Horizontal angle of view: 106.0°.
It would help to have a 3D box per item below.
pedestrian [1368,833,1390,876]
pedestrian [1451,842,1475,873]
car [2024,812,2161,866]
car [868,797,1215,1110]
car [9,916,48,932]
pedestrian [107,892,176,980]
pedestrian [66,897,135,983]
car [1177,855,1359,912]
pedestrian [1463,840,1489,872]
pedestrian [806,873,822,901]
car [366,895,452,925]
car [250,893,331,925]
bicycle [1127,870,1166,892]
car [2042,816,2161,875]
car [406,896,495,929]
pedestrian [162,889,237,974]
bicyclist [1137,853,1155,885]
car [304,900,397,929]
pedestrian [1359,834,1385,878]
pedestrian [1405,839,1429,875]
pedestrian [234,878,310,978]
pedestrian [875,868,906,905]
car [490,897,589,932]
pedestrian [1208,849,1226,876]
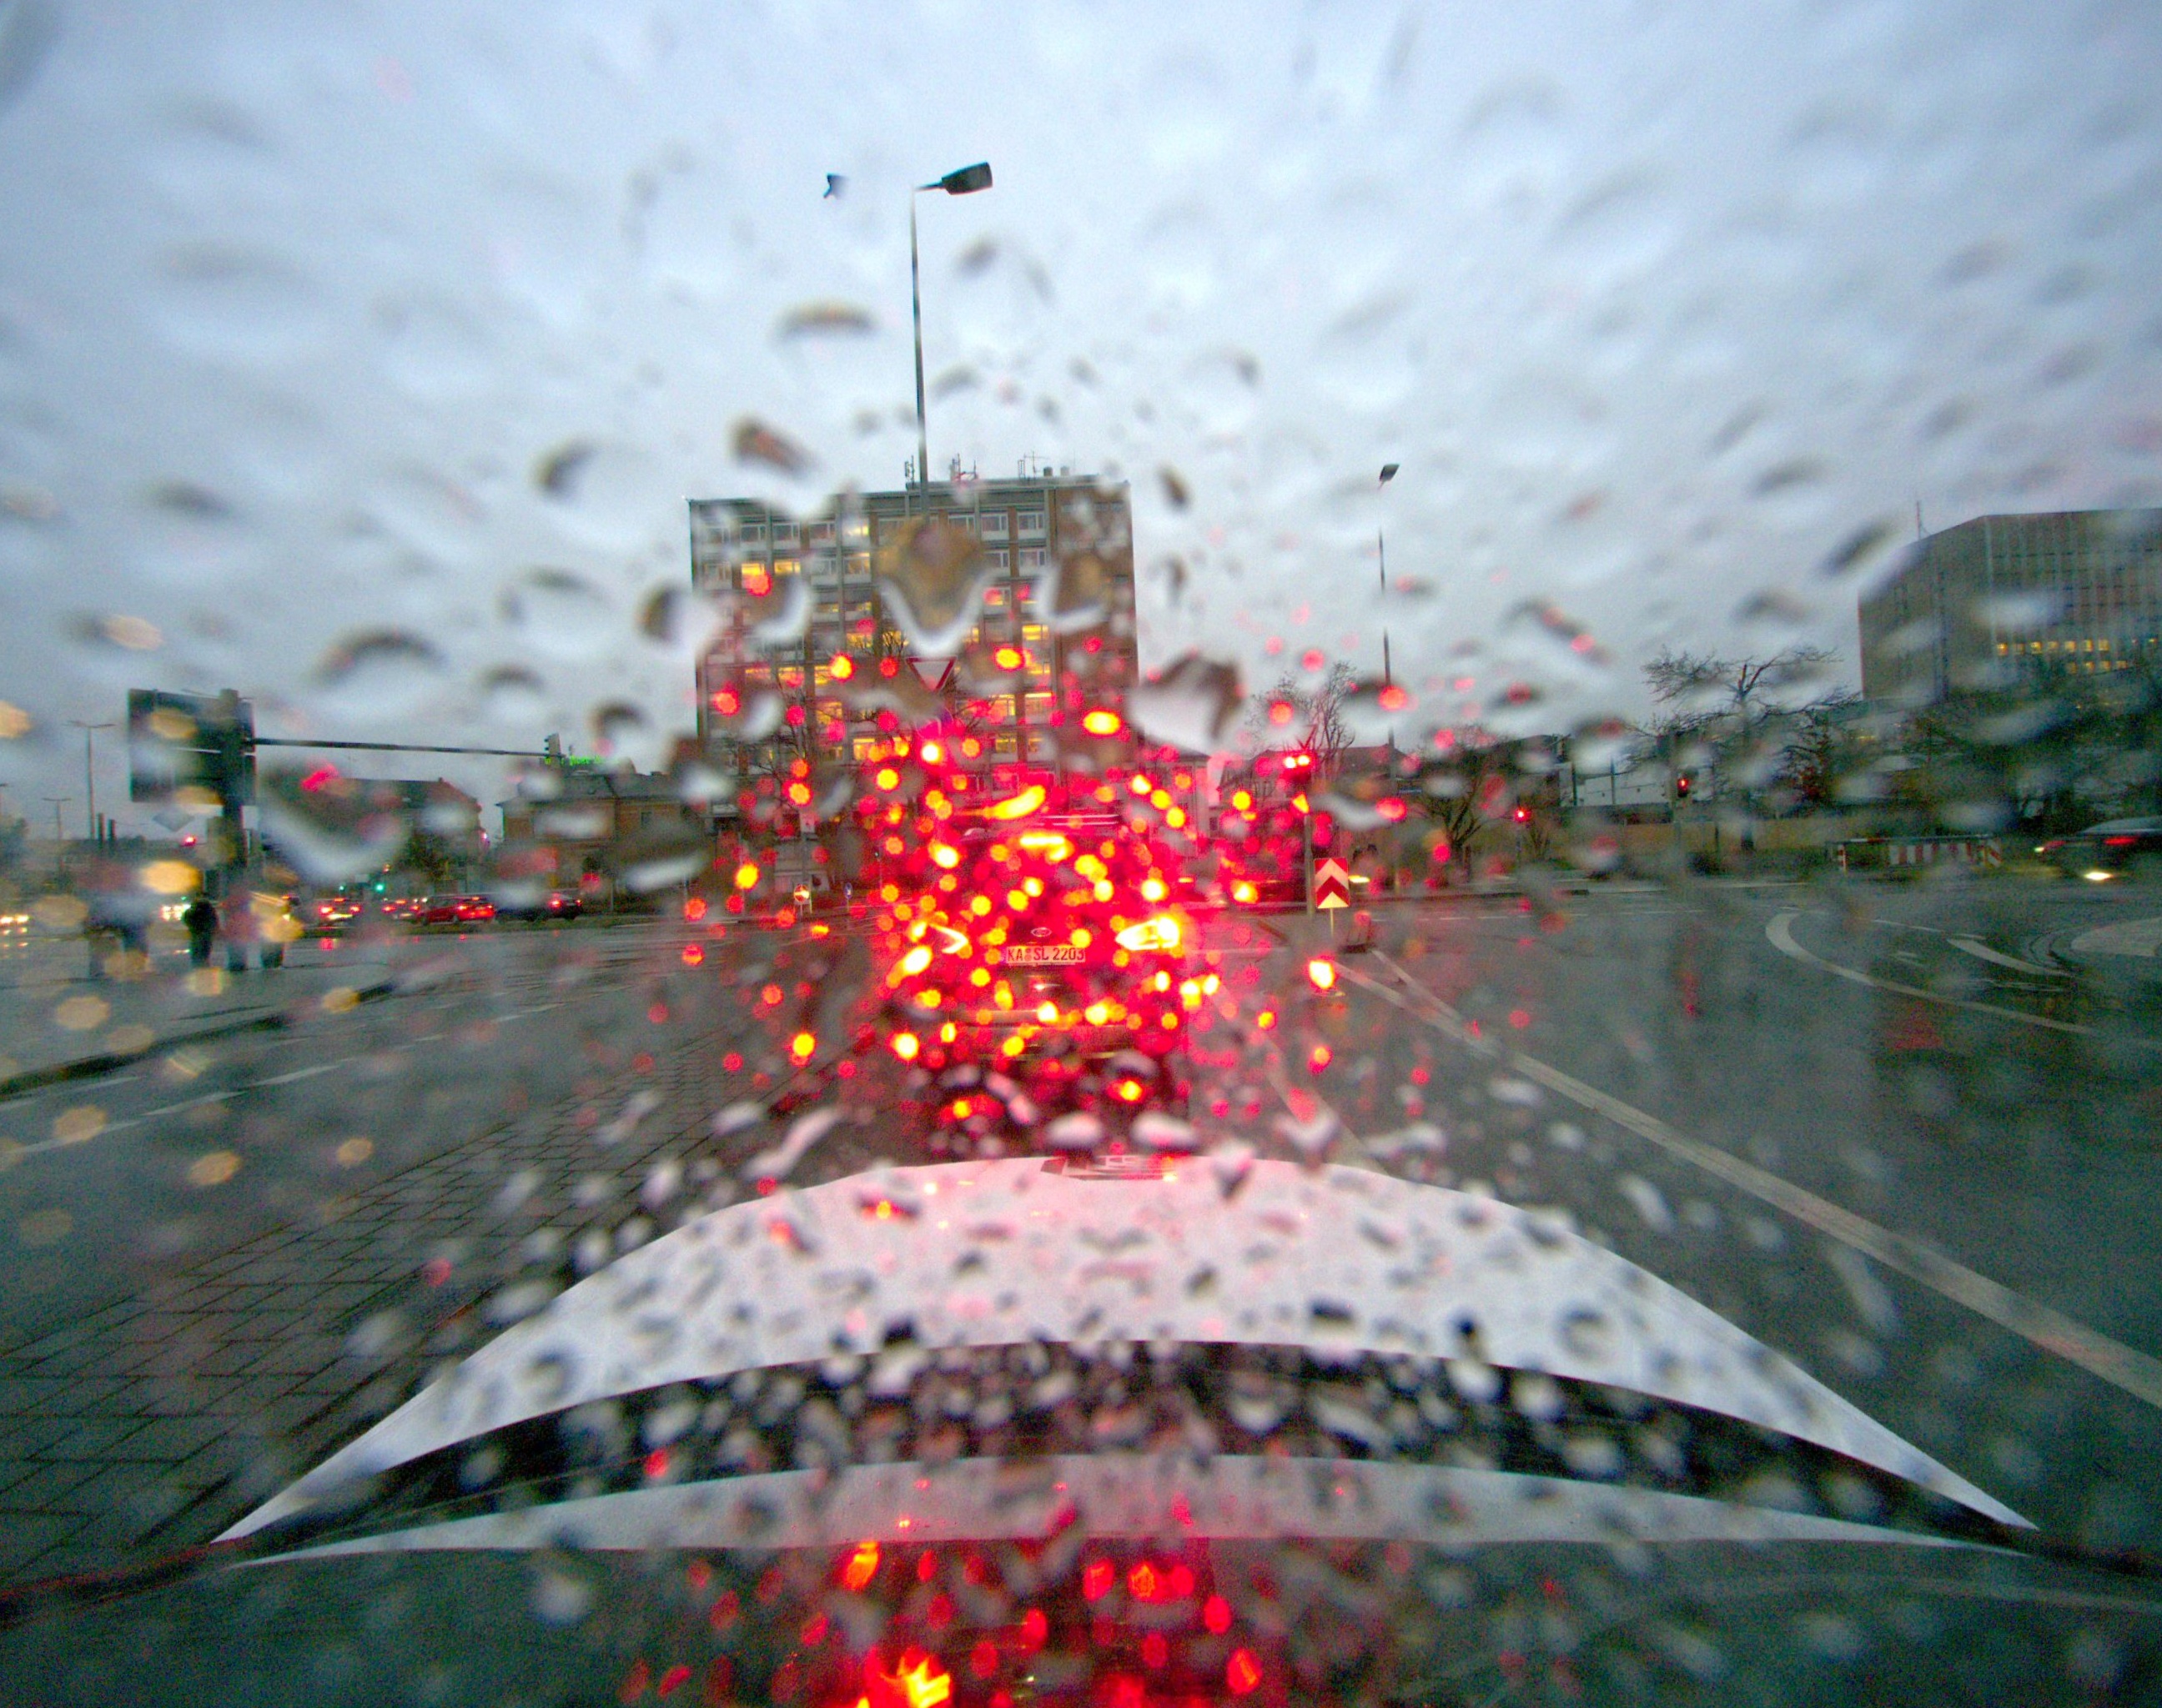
[{"bbox_3d":[15.294,0.019,41.842,0.887,2.113,0.889,-3,0,13],"label":"pedestrian"},{"bbox_3d":[19.524,0.154,41.649,0.886,1.533,0.890,-3,0,17],"label":"pedestrian"},{"bbox_3d":[31.759,-0.488,24.480,4.391,1.477,1.814,-3,-1,5],"label":"car"},{"bbox_3d":[-0.167,0.590,6.689,1.986,1.789,4.001,0,-1,2],"label":"car"},{"bbox_3d":[-120.672,7.962,93.393,1.747,1.509,3.954,-3,0,-38],"label":"car"},{"bbox_3d":[-20.761,1.782,18.008,0.737,1.838,0.670,-3,0,-29],"label":"pedestrian"},{"bbox_3d":[-21.529,1.865,17.888,0.744,1.770,0.543,-3,0,-26],"label":"pedestrian"},{"bbox_3d":[5.111,0.799,22.549,4.652,1.302,1.945,-3,-1,12],"label":"car"},{"bbox_3d":[19.581,0.089,40.356,0.917,1.533,1.047,-3,0,16],"label":"pedestrian"},{"bbox_3d":[-16.601,2.077,50.667,0.634,1.688,0.640,-3,0,18],"label":"pedestrian"},{"bbox_3d":[-38.407,3.171,46.621,1.496,1.461,3.453,-1,-1,31],"label":"car"},{"bbox_3d":[-51.163,3.525,52.773,1.649,1.826,3.609,-1,-1,39],"label":"car"},{"bbox_3d":[3.495,1.422,43.424,1.867,1.048,0.663,-3,0,20],"label":"bicycle"},{"bbox_3d":[25.757,-0.261,19.253,3.734,1.302,1.705,-3,-1,7],"label":"car"},{"bbox_3d":[-33.333,3.052,43.077,3.954,1.568,1.836,-1,-1,20],"label":"car"},{"bbox_3d":[-19.547,1.704,18.075,0.653,1.755,0.856,-3,0,18],"label":"pedestrian"},{"bbox_3d":[3.467,0.797,43.414,0.679,1.599,0.663,-3,0,20],"label":"bicyclist"},{"bbox_3d":[-43.825,3.617,48.919,1.582,1.482,3.840,-1,-1,31],"label":"car"},{"bbox_3d":[14.563,0.082,40.722,0.890,2.113,0.886,-3,0,2],"label":"pedestrian"},{"bbox_3d":[17.340,0.157,42.055,0.988,1.799,0.924,-3,0,19],"label":"pedestrian"},{"bbox_3d":[-17.323,1.550,17.466,0.996,2.021,0.792,-3,0,-39],"label":"pedestrian"},{"bbox_3d":[-10.102,1.716,43.193,0.992,1.842,1.146,-3,2,25],"label":"pedestrian"},{"bbox_3d":[-26.888,2.983,40.484,3.959,1.568,1.833,-1,-1,13],"label":"car"},{"bbox_3d":[8.736,0.552,52.359,0.712,1.628,0.767,-3,0,42],"label":"pedestrian"}]
